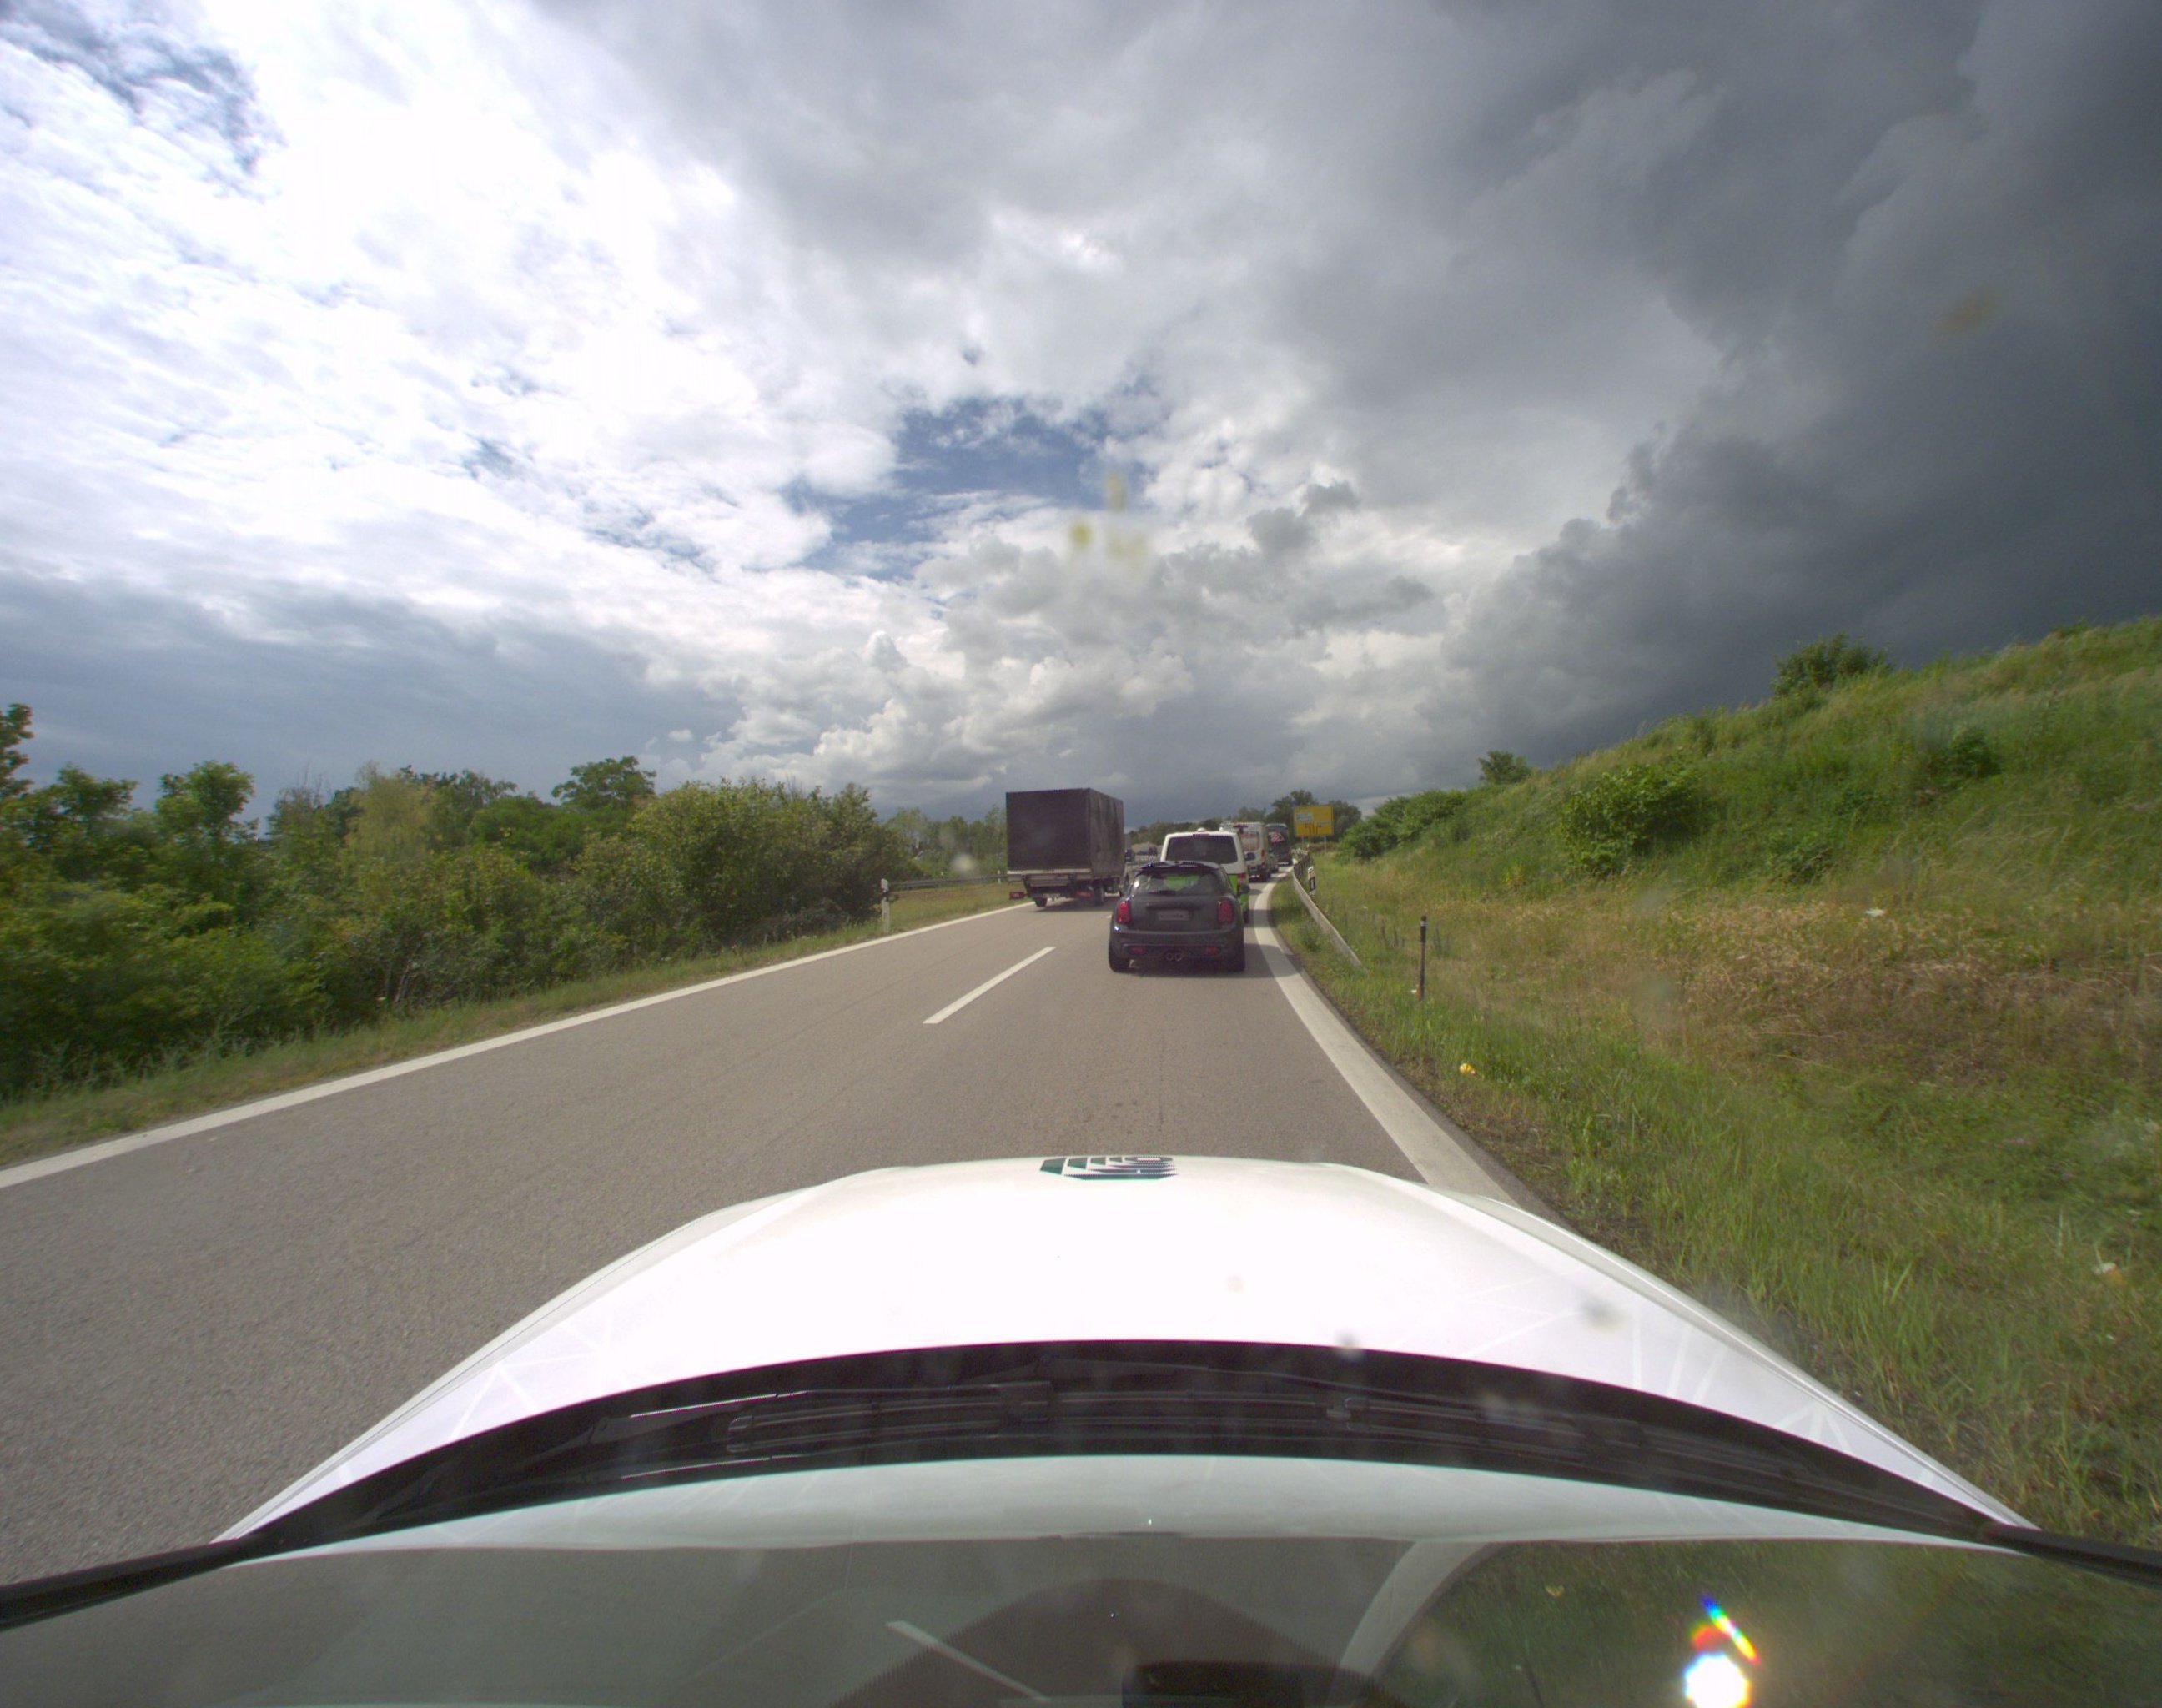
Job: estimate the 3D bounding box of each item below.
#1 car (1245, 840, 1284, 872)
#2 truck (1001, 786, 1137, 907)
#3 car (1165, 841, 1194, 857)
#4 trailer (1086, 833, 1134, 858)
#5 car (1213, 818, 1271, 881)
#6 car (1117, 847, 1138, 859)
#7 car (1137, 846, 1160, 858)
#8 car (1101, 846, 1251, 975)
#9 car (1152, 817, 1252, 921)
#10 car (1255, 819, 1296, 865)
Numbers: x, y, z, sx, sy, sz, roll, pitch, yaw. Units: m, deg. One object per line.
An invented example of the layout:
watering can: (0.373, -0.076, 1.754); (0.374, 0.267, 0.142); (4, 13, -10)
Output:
car: (10.169, 0.128, 44.936); (1.979, 1.642, 3.944); (-1, -1, 14)
truck: (-0.095, -0.143, 25.203); (2.543, 3.168, 7.492); (-1, -1, 12)
car: (14.514, -0.700, 120.473); (2.296, 2.260, 5.074); (0, -1, -19)
trailer: (4.704, -1.318, 134.854); (3.060, 3.898, 8.672); (0, -1, -38)
car: (7.340, -0.139, 36.725); (2.195, 2.622, 5.556); (-1, -1, 15)
car: (7.189, -0.196, 126.722); (1.819, 1.756, 3.972); (0, -1, -21)
car: (10.583, -0.298, 128.431); (1.928, 1.838, 4.286); (0, -1, -21)
car: (1.492, 0.684, 11.743); (1.788, 1.546, 3.749); (-1, 0, 11)
car: (2.825, 0.315, 18.241); (1.898, 2.045, 4.195); (-1, 0, 12)
car: (13.748, -0.758, 57.201); (2.293, 3.069, 6.692); (-1, -1, 18)
